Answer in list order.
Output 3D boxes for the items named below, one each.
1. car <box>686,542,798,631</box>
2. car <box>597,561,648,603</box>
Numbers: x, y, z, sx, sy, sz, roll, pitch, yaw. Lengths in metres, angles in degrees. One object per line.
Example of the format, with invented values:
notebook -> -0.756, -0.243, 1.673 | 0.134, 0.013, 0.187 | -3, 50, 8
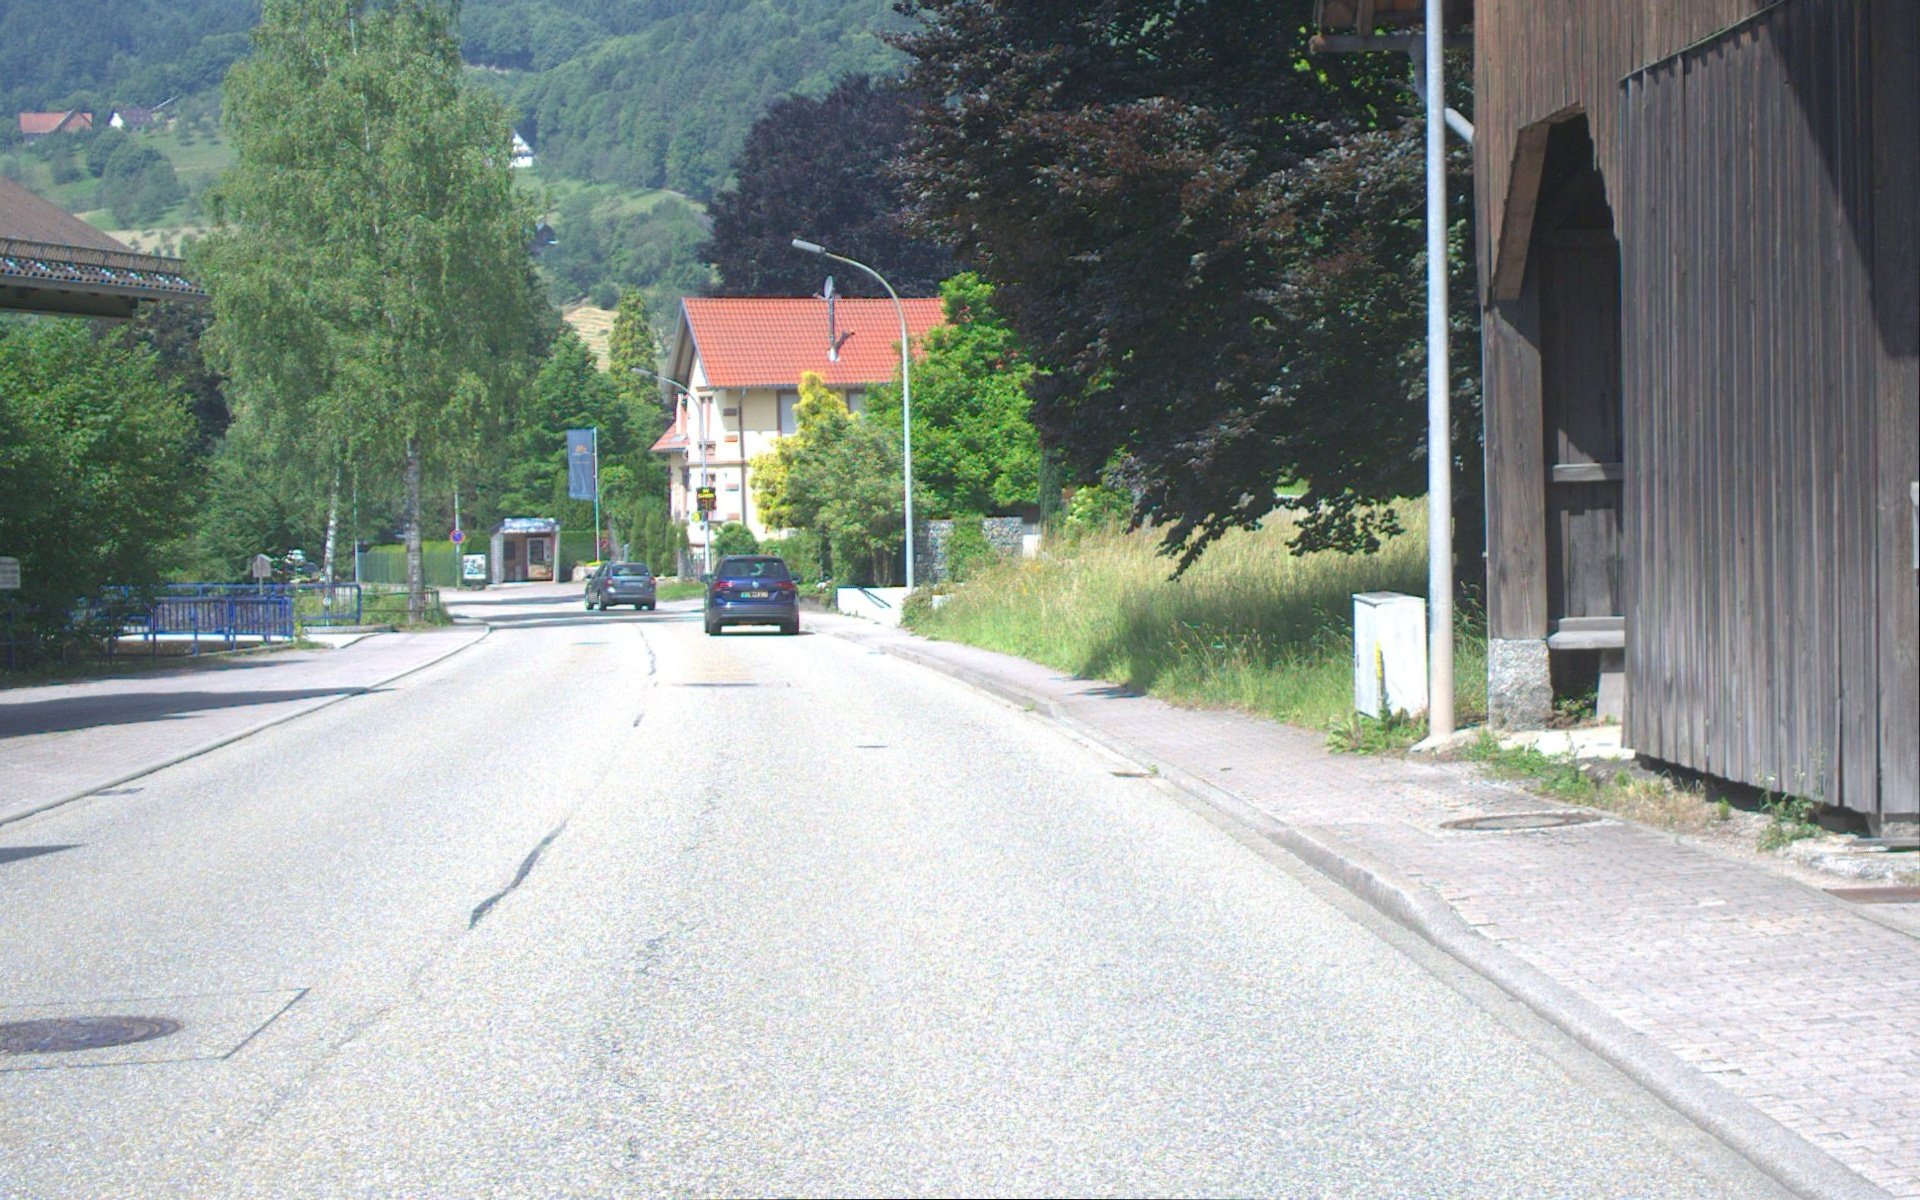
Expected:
car -> -4.473, -0.289, 70.118 | 1.919, 1.692, 3.789 | -2, 1, -8
car -> -10.338, -0.571, 105.325 | 1.476, 1.205, 2.384 | -2, 1, -6
